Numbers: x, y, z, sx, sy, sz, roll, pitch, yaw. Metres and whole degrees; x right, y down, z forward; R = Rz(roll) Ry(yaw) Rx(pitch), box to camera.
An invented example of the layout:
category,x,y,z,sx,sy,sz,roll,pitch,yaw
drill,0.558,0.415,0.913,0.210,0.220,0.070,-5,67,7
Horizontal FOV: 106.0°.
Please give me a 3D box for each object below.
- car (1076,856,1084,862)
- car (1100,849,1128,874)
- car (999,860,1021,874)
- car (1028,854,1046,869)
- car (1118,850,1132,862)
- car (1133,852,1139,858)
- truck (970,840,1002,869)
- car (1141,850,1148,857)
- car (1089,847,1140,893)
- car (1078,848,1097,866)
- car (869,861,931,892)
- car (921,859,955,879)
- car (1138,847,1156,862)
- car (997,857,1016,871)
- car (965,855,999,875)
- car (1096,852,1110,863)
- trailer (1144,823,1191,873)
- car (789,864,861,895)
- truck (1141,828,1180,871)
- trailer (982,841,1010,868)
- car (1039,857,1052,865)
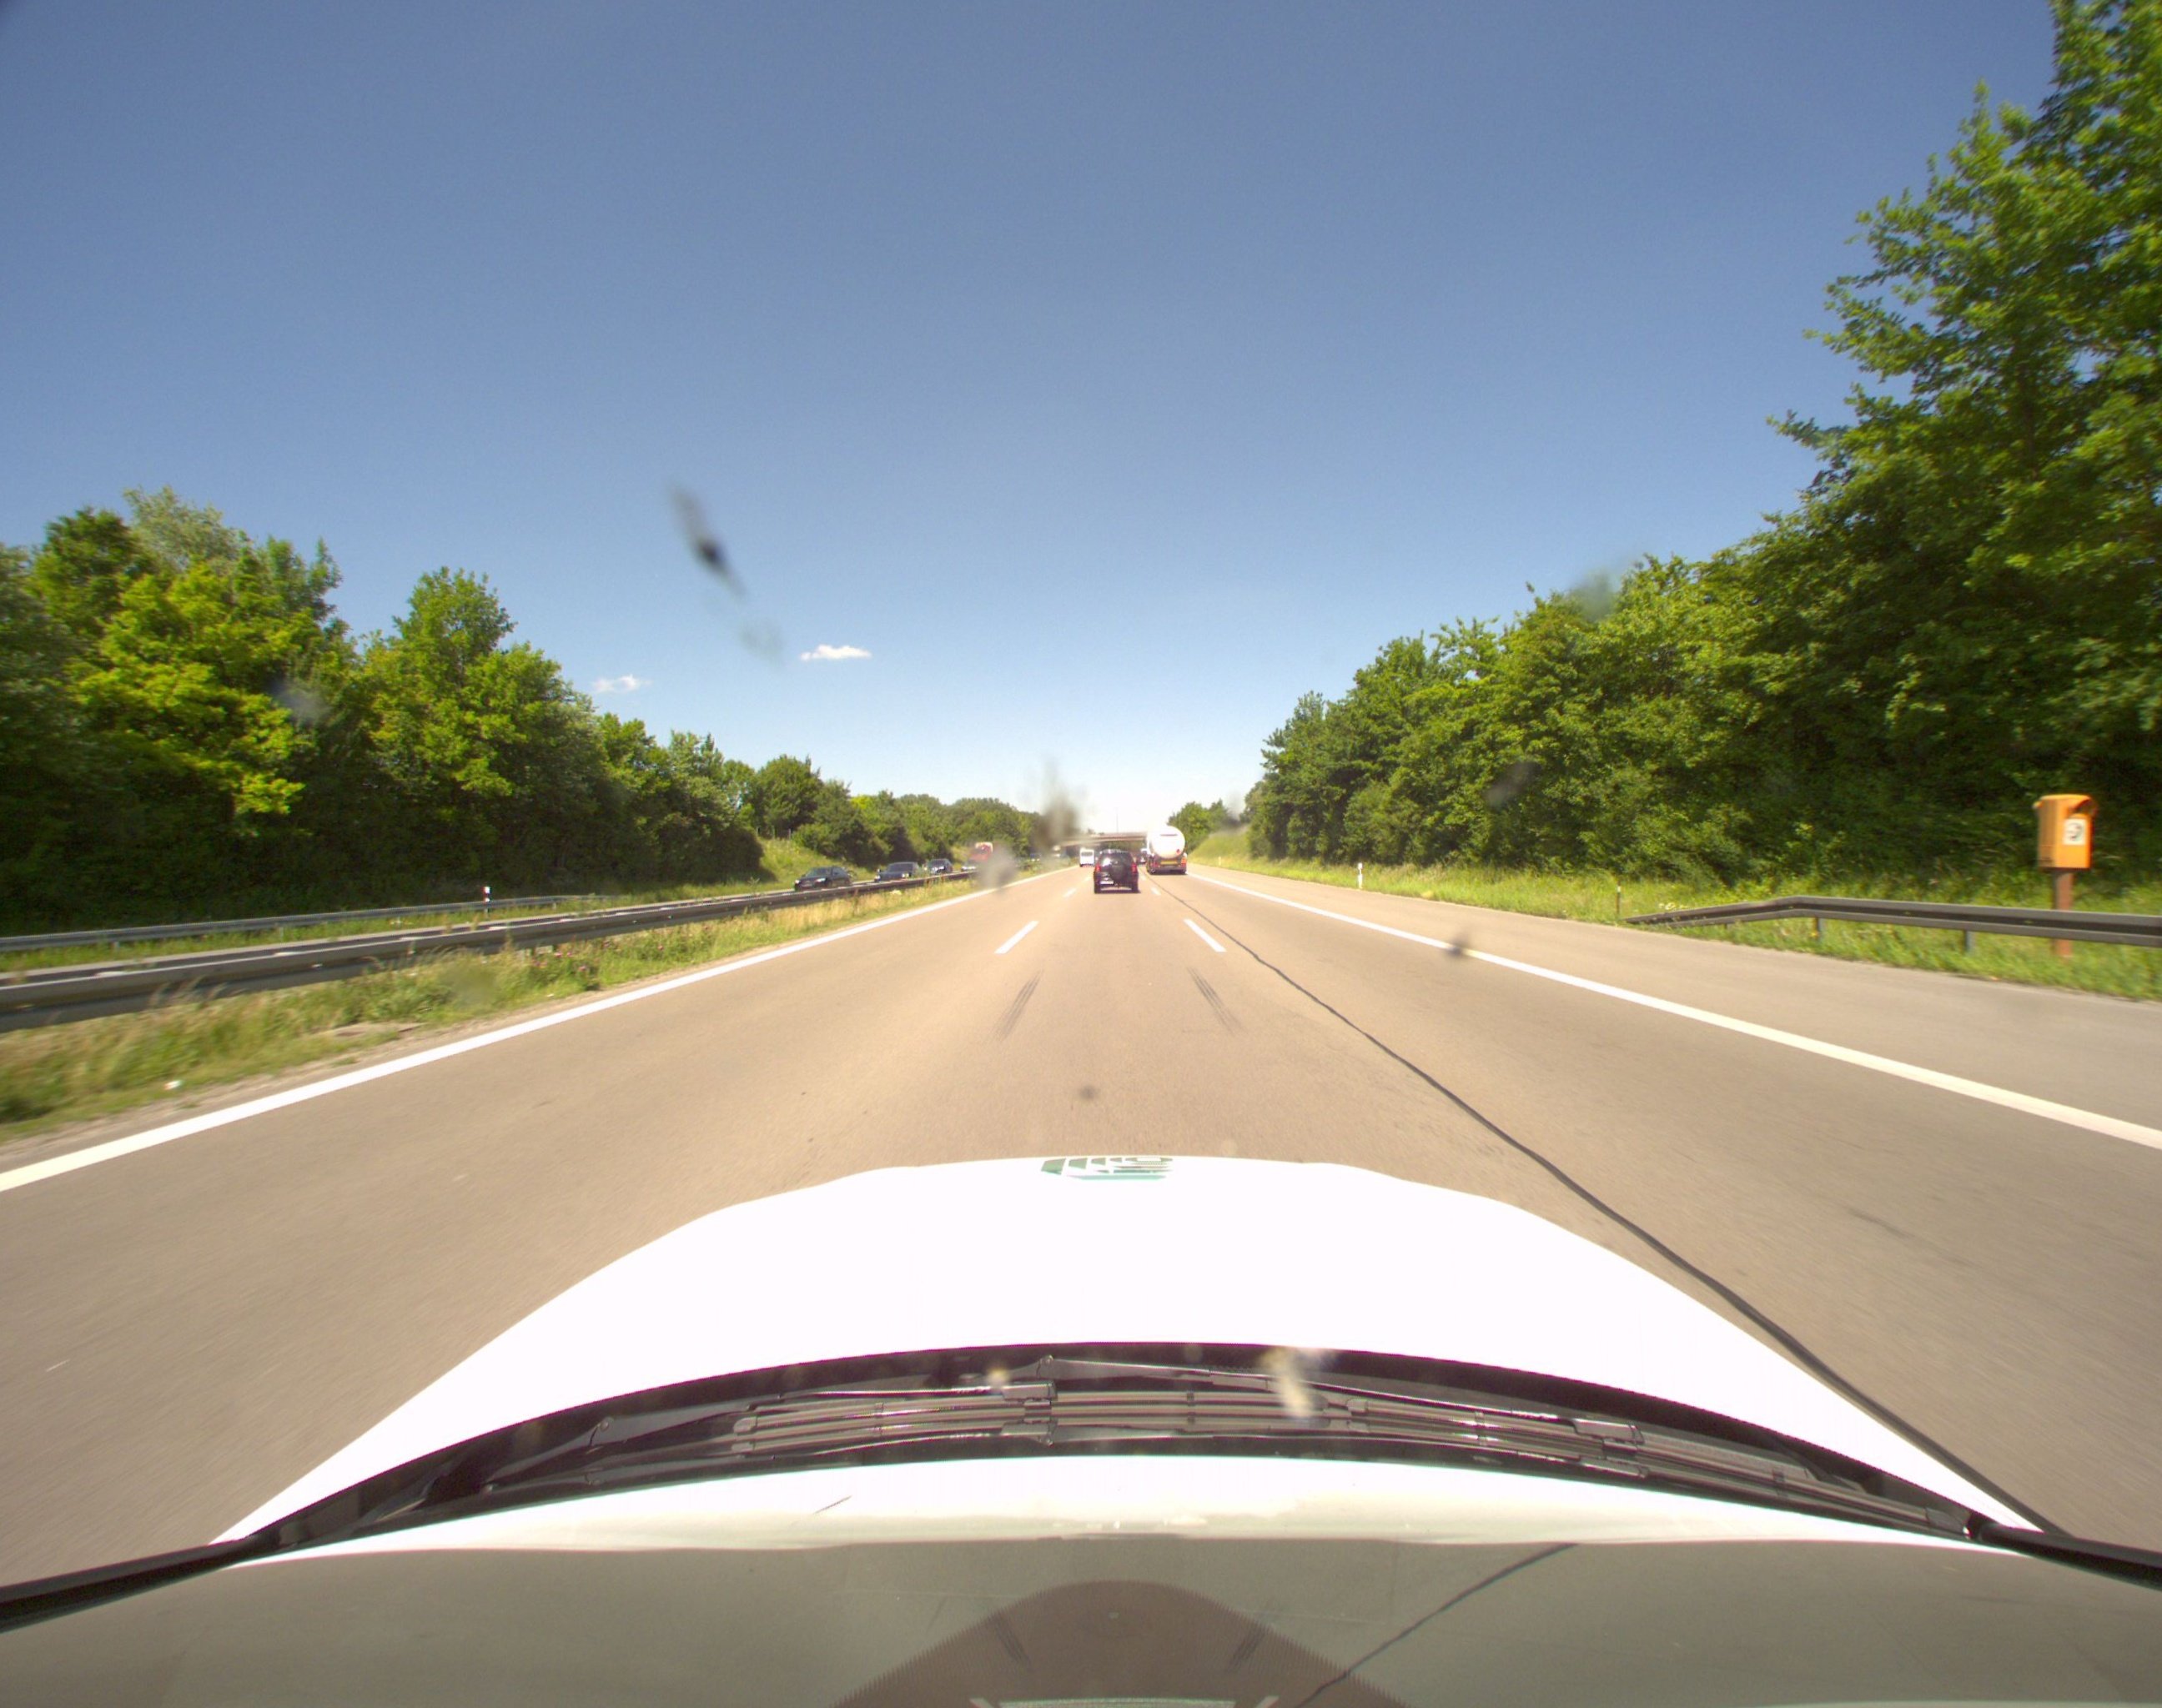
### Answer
category,x,y,z,sx,sy,sz,roll,pitch,yaw
car,-0.384,1.454,234.587,1.984,1.779,4.266,-2,0,4
car,2.515,0.548,61.511,1.986,1.706,4.338,-3,0,2
car,-7.444,1.328,85.724,1.661,1.317,4.124,-2,0,3
car,-5.863,1.022,110.074,1.986,1.865,4.900,-2,0,1
car,6.827,0.281,127.196,1.984,1.750,4.210,-2,0,4
car,17.242,0.314,254.302,1.805,1.746,4.003,-2,0,3
truck,-13.333,0.082,115.318,2.668,3.769,9.926,-3,0,3
car,18.117,-0.140,233.555,1.805,1.746,4.003,-2,0,3
car,1.391,0.617,32.942,1.898,1.665,4.004,-2,0,3
car,0.761,0.399,96.743,1.985,2.013,4.953,-3,0,3
car,-9.675,1.166,43.941,1.986,1.475,4.833,-2,0,2
car,-12.417,1.271,70.952,1.986,1.629,4.577,-2,0,2
car,7.858,0.078,97.178,1.985,1.684,4.004,-2,-1,4
car,-10.092,1.332,110.210,1.986,1.690,4.266,-2,0,1
car,-8.071,0.902,66.860,1.945,1.483,4.350,-2,0,4
car,3.240,0.546,120.423,1.986,1.552,4.001,-2,-1,1
trailer,6.329,-0.381,60.994,2.638,3.390,11.156,-1,0,2
car,-14.136,1.350,45.358,1.986,1.475,5.626,-2,0,2
truck,6.463,-0.365,67.049,2.629,3.374,6.488,-1,0,1
trailer,-12.887,0.080,124.171,2.668,3.769,8.413,-3,0,3
car,-6.785,1.246,157.003,1.888,1.339,4.767,-5,0,3
